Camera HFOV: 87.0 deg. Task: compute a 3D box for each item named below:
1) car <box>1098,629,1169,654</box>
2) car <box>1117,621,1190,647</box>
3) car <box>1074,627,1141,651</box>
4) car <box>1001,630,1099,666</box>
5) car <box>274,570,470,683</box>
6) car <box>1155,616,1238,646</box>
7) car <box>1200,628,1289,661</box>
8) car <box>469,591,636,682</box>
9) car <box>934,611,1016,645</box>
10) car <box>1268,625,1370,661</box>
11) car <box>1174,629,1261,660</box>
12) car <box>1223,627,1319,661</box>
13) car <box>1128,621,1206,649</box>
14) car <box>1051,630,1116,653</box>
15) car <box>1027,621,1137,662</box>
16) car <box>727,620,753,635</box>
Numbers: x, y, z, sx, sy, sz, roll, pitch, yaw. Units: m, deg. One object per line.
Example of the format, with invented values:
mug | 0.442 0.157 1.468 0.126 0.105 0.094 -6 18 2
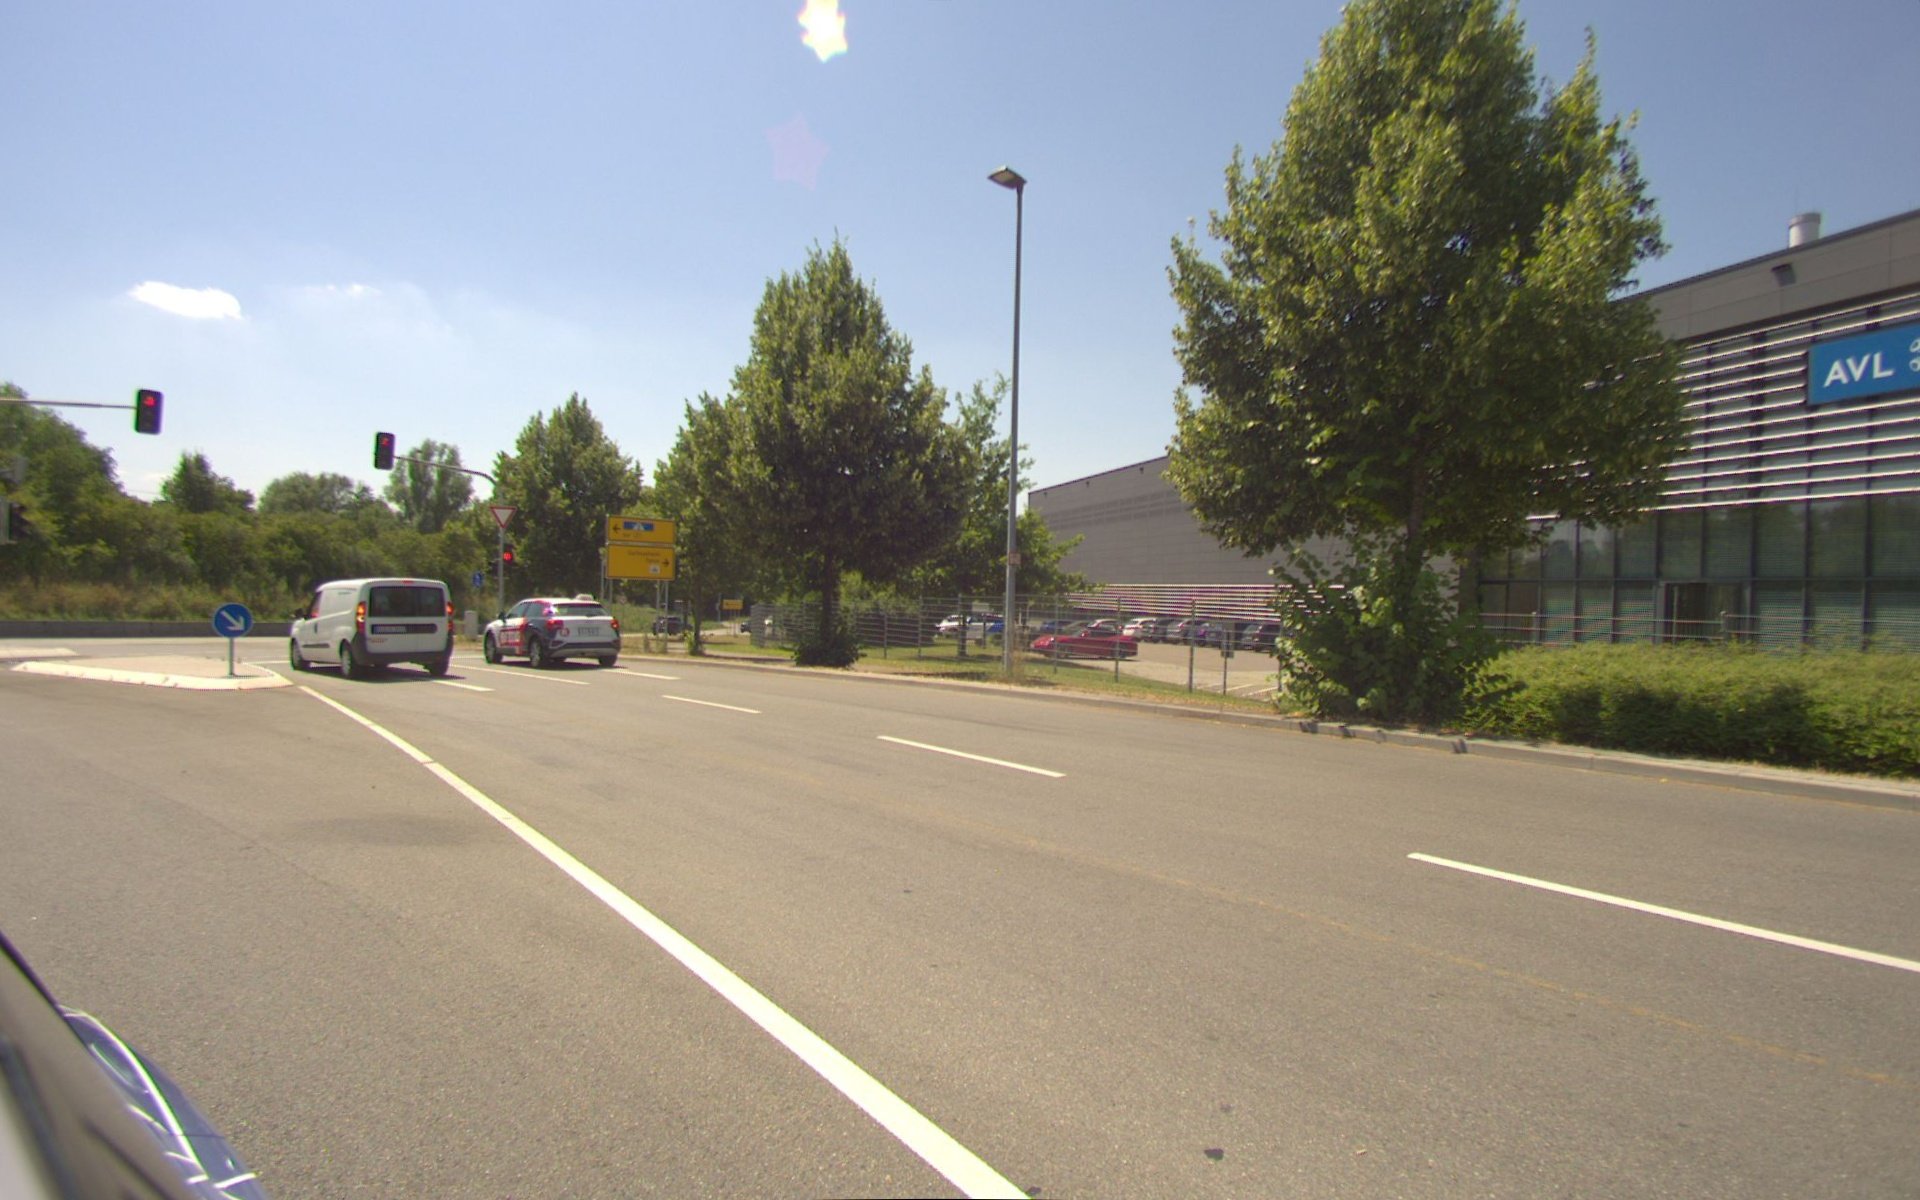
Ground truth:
car | 10.904 2.618 63.617 3.931 1.497 2.006 2 -3 -19
car | 11.590 2.050 60.658 3.931 1.471 1.777 2 -3 -19
car | 9.884 2.647 67.830 3.931 1.497 2.006 2 -3 -19
car | 4.097 2.182 45.998 3.931 1.497 2.006 2 -3 -19
car | -11.798 0.398 20.167 4.870 1.957 1.972 2 3 42
car | 12.938 1.717 55.411 3.931 1.528 1.926 -1 -2 -19
car | 14.220 2.233 50.608 3.931 1.540 1.826 2 -3 -19
car | -9.155 0.722 22.622 3.864 1.719 1.972 2 3 42
car | 0.779 1.549 54.655 3.931 1.719 2.006 2 -3 -19
car | 16.190 1.941 45.709 3.931 1.497 2.006 2 -3 -19
car | 13.506 2.331 53.065 3.931 1.497 2.006 2 -3 -19
car | 14.747 2.097 48.050 3.931 1.497 2.006 2 -3 -19
car | 11.936 2.044 58.410 3.931 1.497 2.006 2 -3 -19
car | 8.538 2.905 70.169 3.931 1.497 2.006 2 -3 -19
car | 4.934 1.699 40.971 3.931 1.497 2.006 2 -3 -19
car | -23.340 2.913 107.131 1.709 1.453 4.406 3 -3 -25
